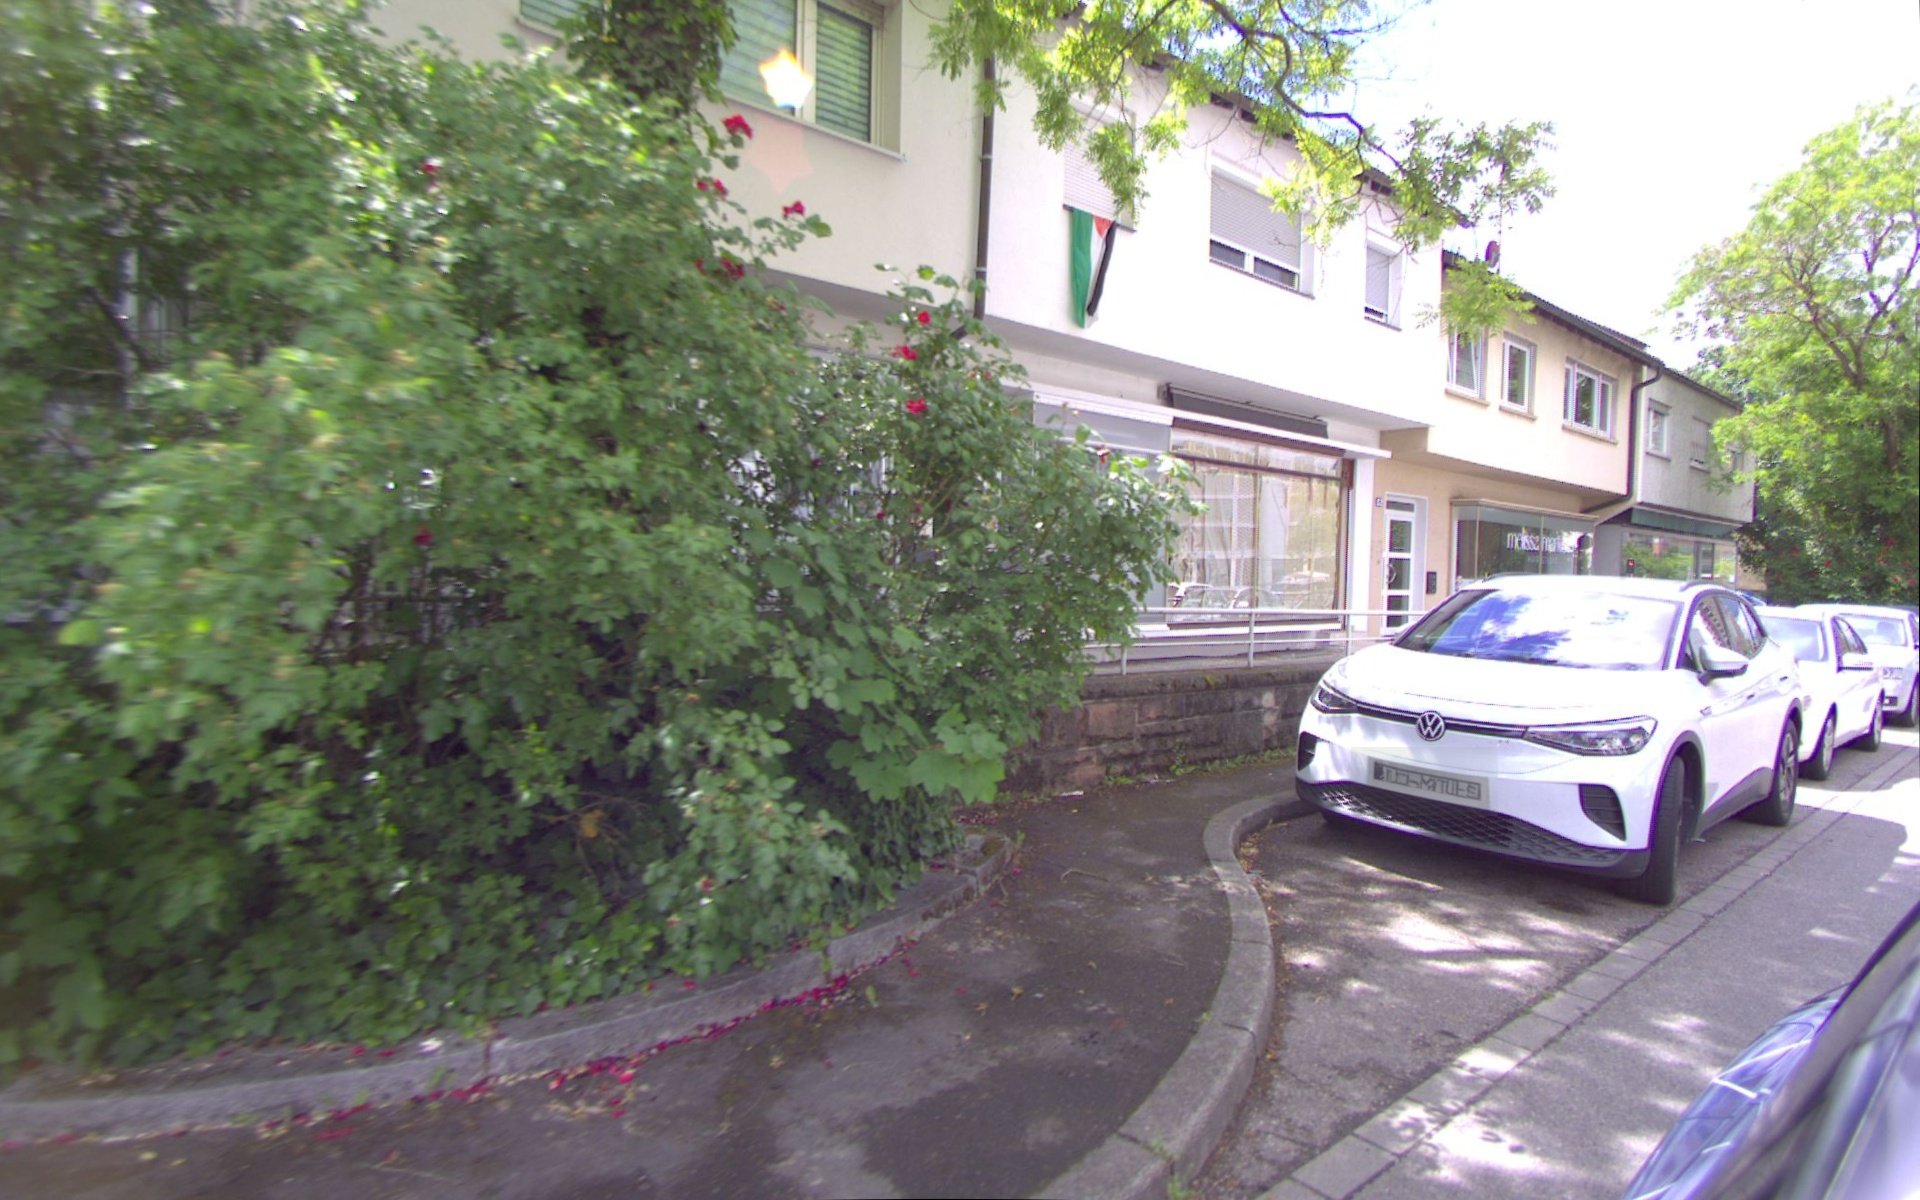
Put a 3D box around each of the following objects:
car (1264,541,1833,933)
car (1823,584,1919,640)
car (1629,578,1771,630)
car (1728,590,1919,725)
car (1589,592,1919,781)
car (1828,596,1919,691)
[{"bbox_3d":[3.952,0.558,6.438,4.352,1.664,1.841,0,1,-41],"label":"car"},{"bbox_3d":[29.821,0.396,31.788,1.804,1.590,3.655,0,3,-29],"label":"car"},{"bbox_3d":[26.210,0.107,35.961,3.917,1.537,1.778,5,3,37],"label":"car"},{"bbox_3d":[12.403,0.657,13.917,4.822,1.517,1.818,0,2,-39],"label":"car"},{"bbox_3d":[8.017,0.677,10.059,4.367,1.444,1.728,0,2,-40],"label":"car"},{"bbox_3d":[16.614,0.699,17.420,3.967,1.482,1.818,0,2,-39],"label":"car"}]
